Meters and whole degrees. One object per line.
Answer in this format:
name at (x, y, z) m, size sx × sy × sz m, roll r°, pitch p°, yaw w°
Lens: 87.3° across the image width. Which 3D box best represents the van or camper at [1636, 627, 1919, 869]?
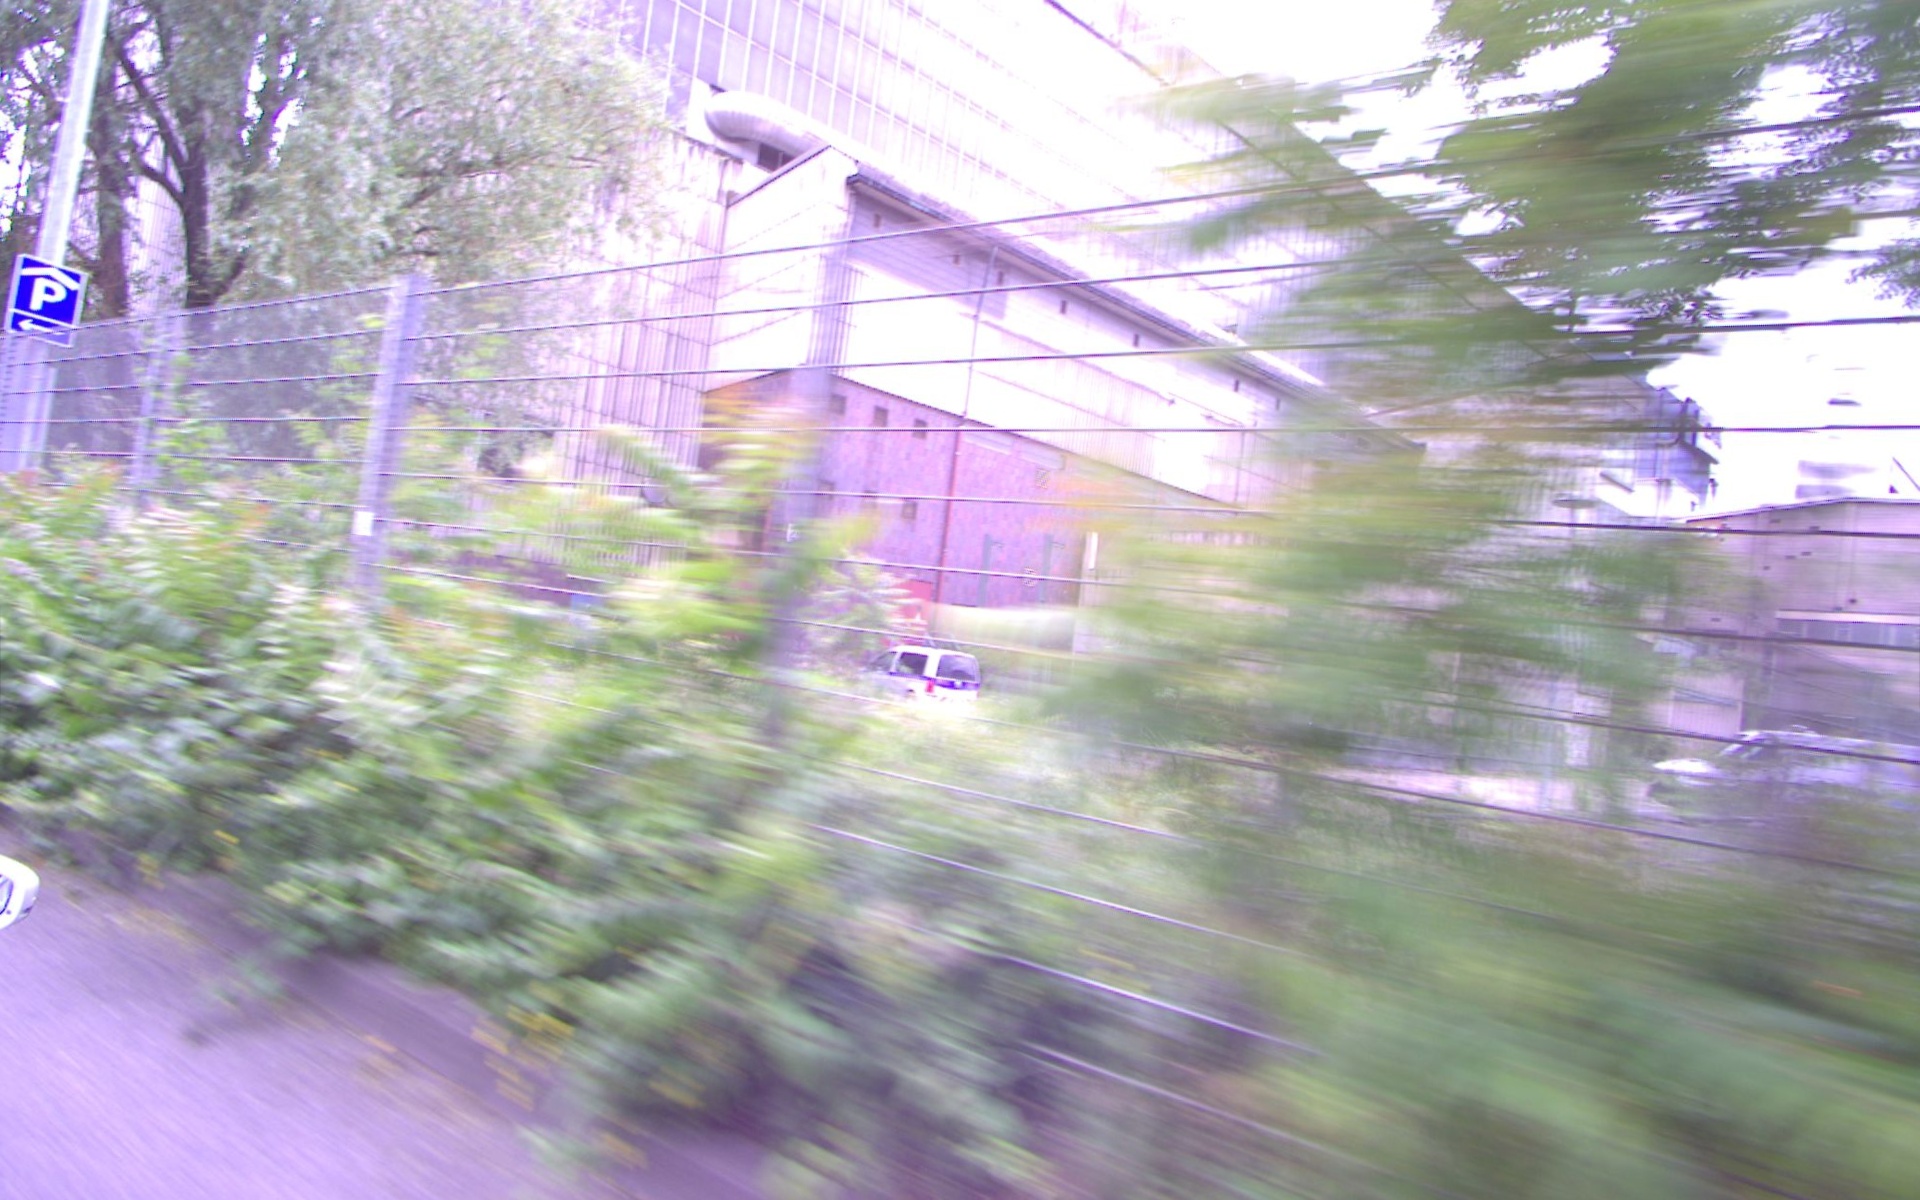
van or camper at (21.302, 3.673, 25.963) m, size 5.396 × 4.580 × 11.835 m, roll 4°, pitch -4°, yaw 31°
